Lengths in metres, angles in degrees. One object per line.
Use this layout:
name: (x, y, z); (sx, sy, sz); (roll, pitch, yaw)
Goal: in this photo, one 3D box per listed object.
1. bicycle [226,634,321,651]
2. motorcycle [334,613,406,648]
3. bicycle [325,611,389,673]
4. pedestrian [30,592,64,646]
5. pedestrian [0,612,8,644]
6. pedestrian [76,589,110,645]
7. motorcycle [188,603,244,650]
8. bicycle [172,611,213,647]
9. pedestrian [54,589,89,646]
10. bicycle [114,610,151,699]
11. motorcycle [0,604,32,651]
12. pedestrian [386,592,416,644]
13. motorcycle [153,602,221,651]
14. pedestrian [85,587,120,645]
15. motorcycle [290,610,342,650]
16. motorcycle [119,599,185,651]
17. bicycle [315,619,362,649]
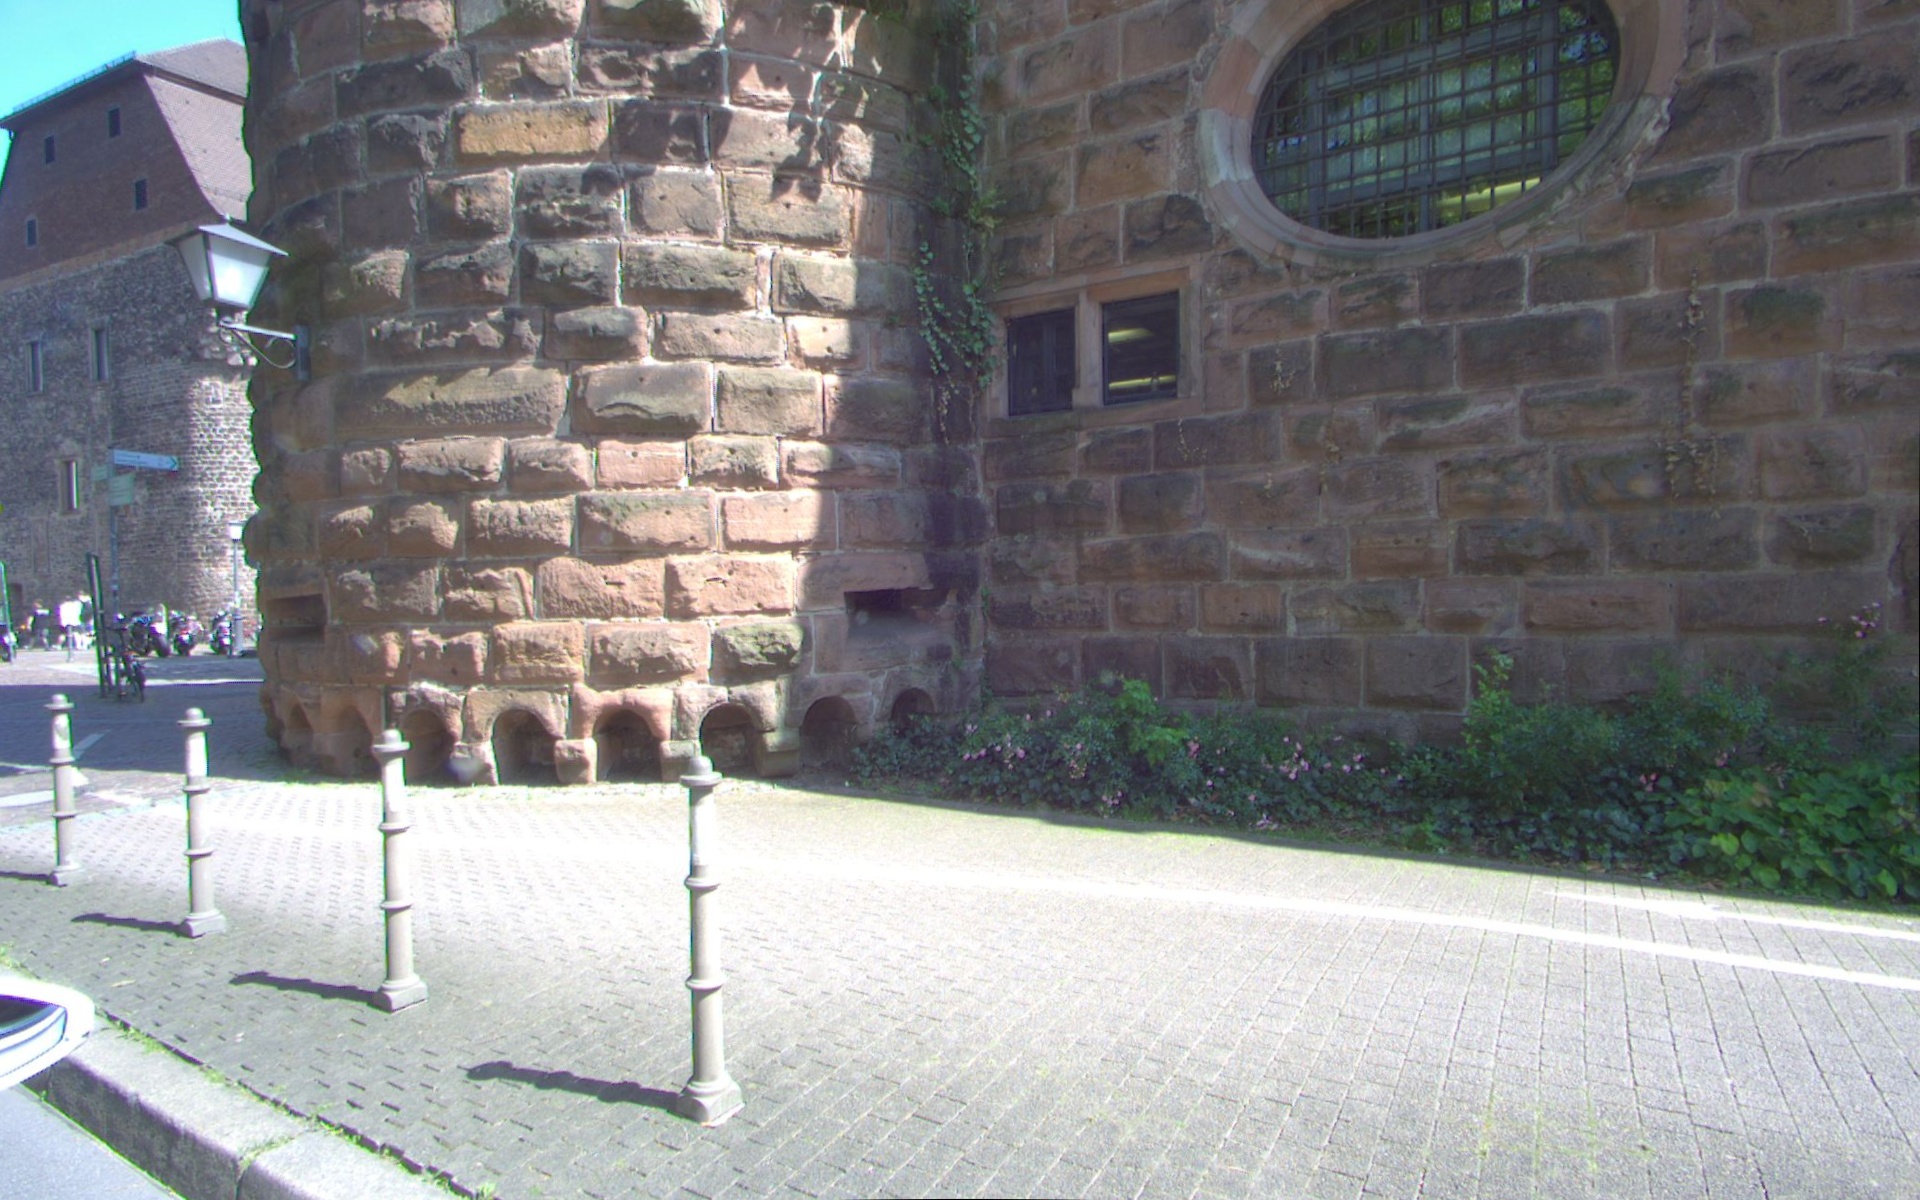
bicycle: (-17.579, 1.092, 25.663); (1.916, 0.386, 0.909); (0, -2, -44)
motorcycle: (-18.302, 0.949, 31.098); (0.474, 1.067, 1.858); (-1, -2, 40)
bicycle: (-11.958, 0.809, 19.857); (1.707, 1.178, 0.445); (0, 1, 36)
pedestrian: (-31.234, 0.650, 34.255); (0.835, 1.826, 0.651); (0, 0, 31)
pedestrian: (-50.268, 1.445, 52.248); (0.684, 1.634, 0.885); (-2, 3, -33)
pedestrian: (-30.101, 0.598, 34.757); (0.809, 1.944, 0.667); (-1, -1, 31)
motorcycle: (-20.382, 0.737, 27.416); (2.002, 1.251, 0.545); (-1, -2, 32)
bicycle: (-26.638, 1.025, 34.746); (1.690, 1.225, 0.388); (-1, -1, 24)
pedestrian: (-30.031, 0.596, 33.864); (0.809, 1.908, 0.667); (-1, -1, 31)
bicycle: (-12.011, 0.759, 14.522); (1.750, 1.220, 0.192); (0, 1, 44)
motorcycle: (-22.177, 0.623, 23.039); (2.453, 1.026, 0.565); (0, 1, 32)
pedestrian: (-18.590, 0.585, 33.290); (0.799, 1.684, 0.652); (-1, 1, -34)
motorcycle: (-20.294, 0.707, 26.280); (2.280, 1.251, 0.674); (-1, -2, 32)
pedestrian: (-30.574, 0.588, 35.702); (0.865, 2.039, 0.729); (-1, -1, 32)
motorcycle: (-18.117, 0.844, 28.143); (1.814, 1.087, 0.506); (-1, -2, 32)
motorcycle: (-20.546, 0.646, 25.447); (2.169, 1.282, 0.654); (-1, -1, 32)
bicycle: (-18.384, 1.001, 29.614); (1.898, 0.831, 0.353); (0, -1, 32)
